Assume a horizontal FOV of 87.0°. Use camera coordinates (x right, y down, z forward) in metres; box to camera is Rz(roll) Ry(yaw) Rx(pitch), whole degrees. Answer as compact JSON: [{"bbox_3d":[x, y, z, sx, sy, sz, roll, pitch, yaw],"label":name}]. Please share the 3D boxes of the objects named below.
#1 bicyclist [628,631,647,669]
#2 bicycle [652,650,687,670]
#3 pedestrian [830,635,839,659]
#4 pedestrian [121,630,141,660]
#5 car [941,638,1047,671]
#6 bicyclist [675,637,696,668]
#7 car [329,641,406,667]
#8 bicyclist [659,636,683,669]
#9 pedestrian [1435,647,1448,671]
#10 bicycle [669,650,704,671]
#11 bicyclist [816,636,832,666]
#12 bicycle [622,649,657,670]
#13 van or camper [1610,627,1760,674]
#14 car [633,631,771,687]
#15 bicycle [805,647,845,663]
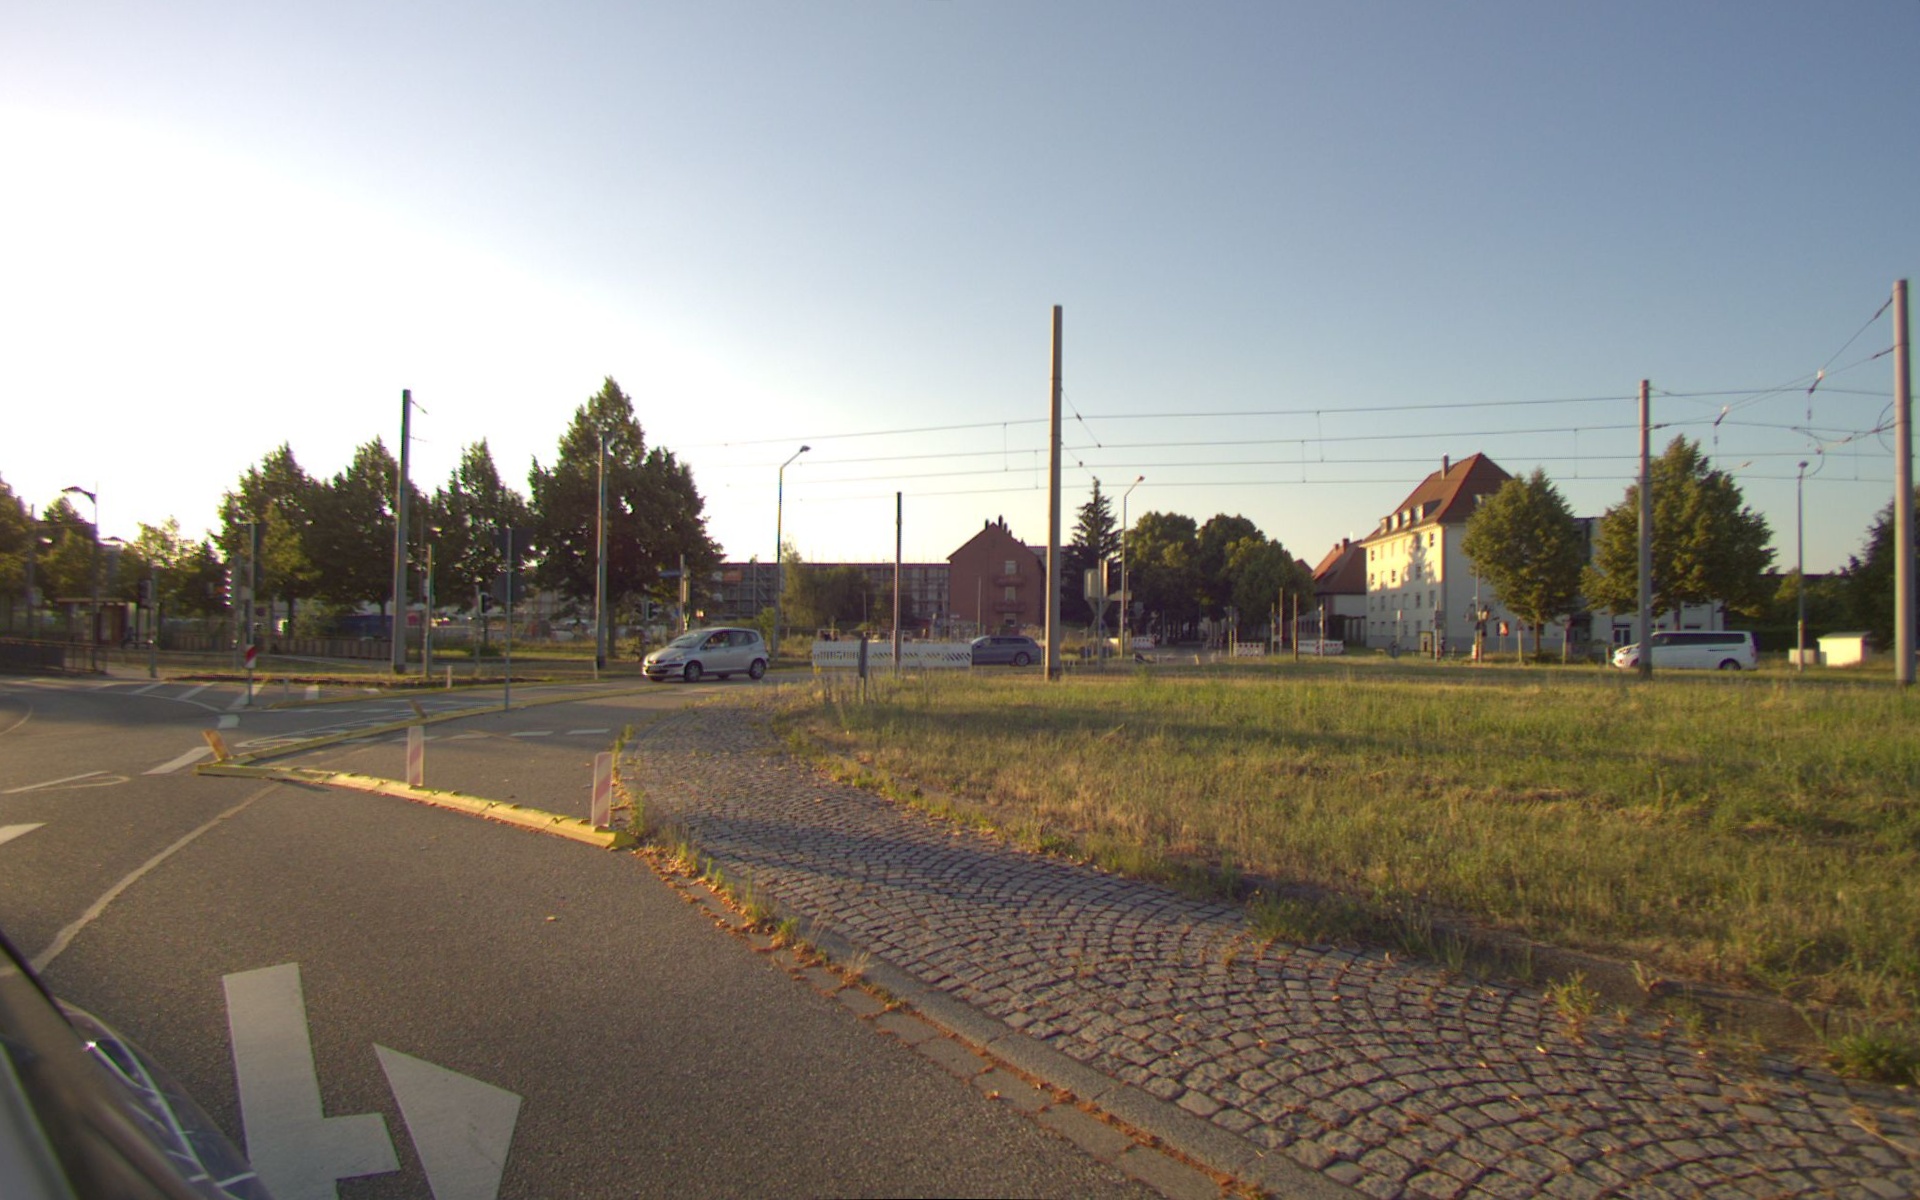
[{"bbox_3d":[-16.252,2.514,50.941,0.613,1.933,0.671,-1,-2,29],"label":"bicyclist"},{"bbox_3d":[-14.598,3.006,50.851,0.547,0.988,1.825,-1,-2,29],"label":"bicycle"},{"bbox_3d":[-7.146,2.703,57.845,0.496,1.377,0.434,0,-2,-5],"label":"pedestrian"},{"bbox_3d":[-45.796,2.463,55.879,0.443,1.645,0.702,-1,-2,24],"label":"pedestrian"},{"bbox_3d":[1.535,2.504,46.849,4.576,1.426,1.935,0,-2,-10],"label":"car"},{"bbox_3d":[-13.632,2.608,50.299,0.590,1.517,0.806,-1,-2,29],"label":"bicyclist"},{"bbox_3d":[-31.755,2.855,54.221,3.982,1.342,1.816,-1,-2,29],"label":"car"},{"bbox_3d":[-14.532,2.634,50.875,0.811,1.653,0.806,-1,-2,29],"label":"bicyclist"},{"bbox_3d":[33.010,4.038,69.370,0.587,1.634,0.566,0,-2,2],"label":"pedestrian"},{"bbox_3d":[-13.593,3.007,50.360,0.535,0.988,1.825,-1,-2,29],"label":"bicycle"},{"bbox_3d":[-7.451,2.777,55.512,0.785,1.646,0.697,0,-2,-15],"label":"bicyclist"},{"bbox_3d":[-16.156,3.003,51.081,0.547,0.988,1.825,-1,-2,29],"label":"bicycle"},{"bbox_3d":[32.720,2.271,45.872,5.282,2.025,1.895,-2,-3,31],"label":"van or camper"},{"bbox_3d":[-7.285,1.636,28.863,1.603,1.476,3.667,-2,-3,34],"label":"car"},{"bbox_3d":[-7.413,3.039,55.655,2.099,0.852,0.514,0,-2,-14],"label":"bicycle"}]
